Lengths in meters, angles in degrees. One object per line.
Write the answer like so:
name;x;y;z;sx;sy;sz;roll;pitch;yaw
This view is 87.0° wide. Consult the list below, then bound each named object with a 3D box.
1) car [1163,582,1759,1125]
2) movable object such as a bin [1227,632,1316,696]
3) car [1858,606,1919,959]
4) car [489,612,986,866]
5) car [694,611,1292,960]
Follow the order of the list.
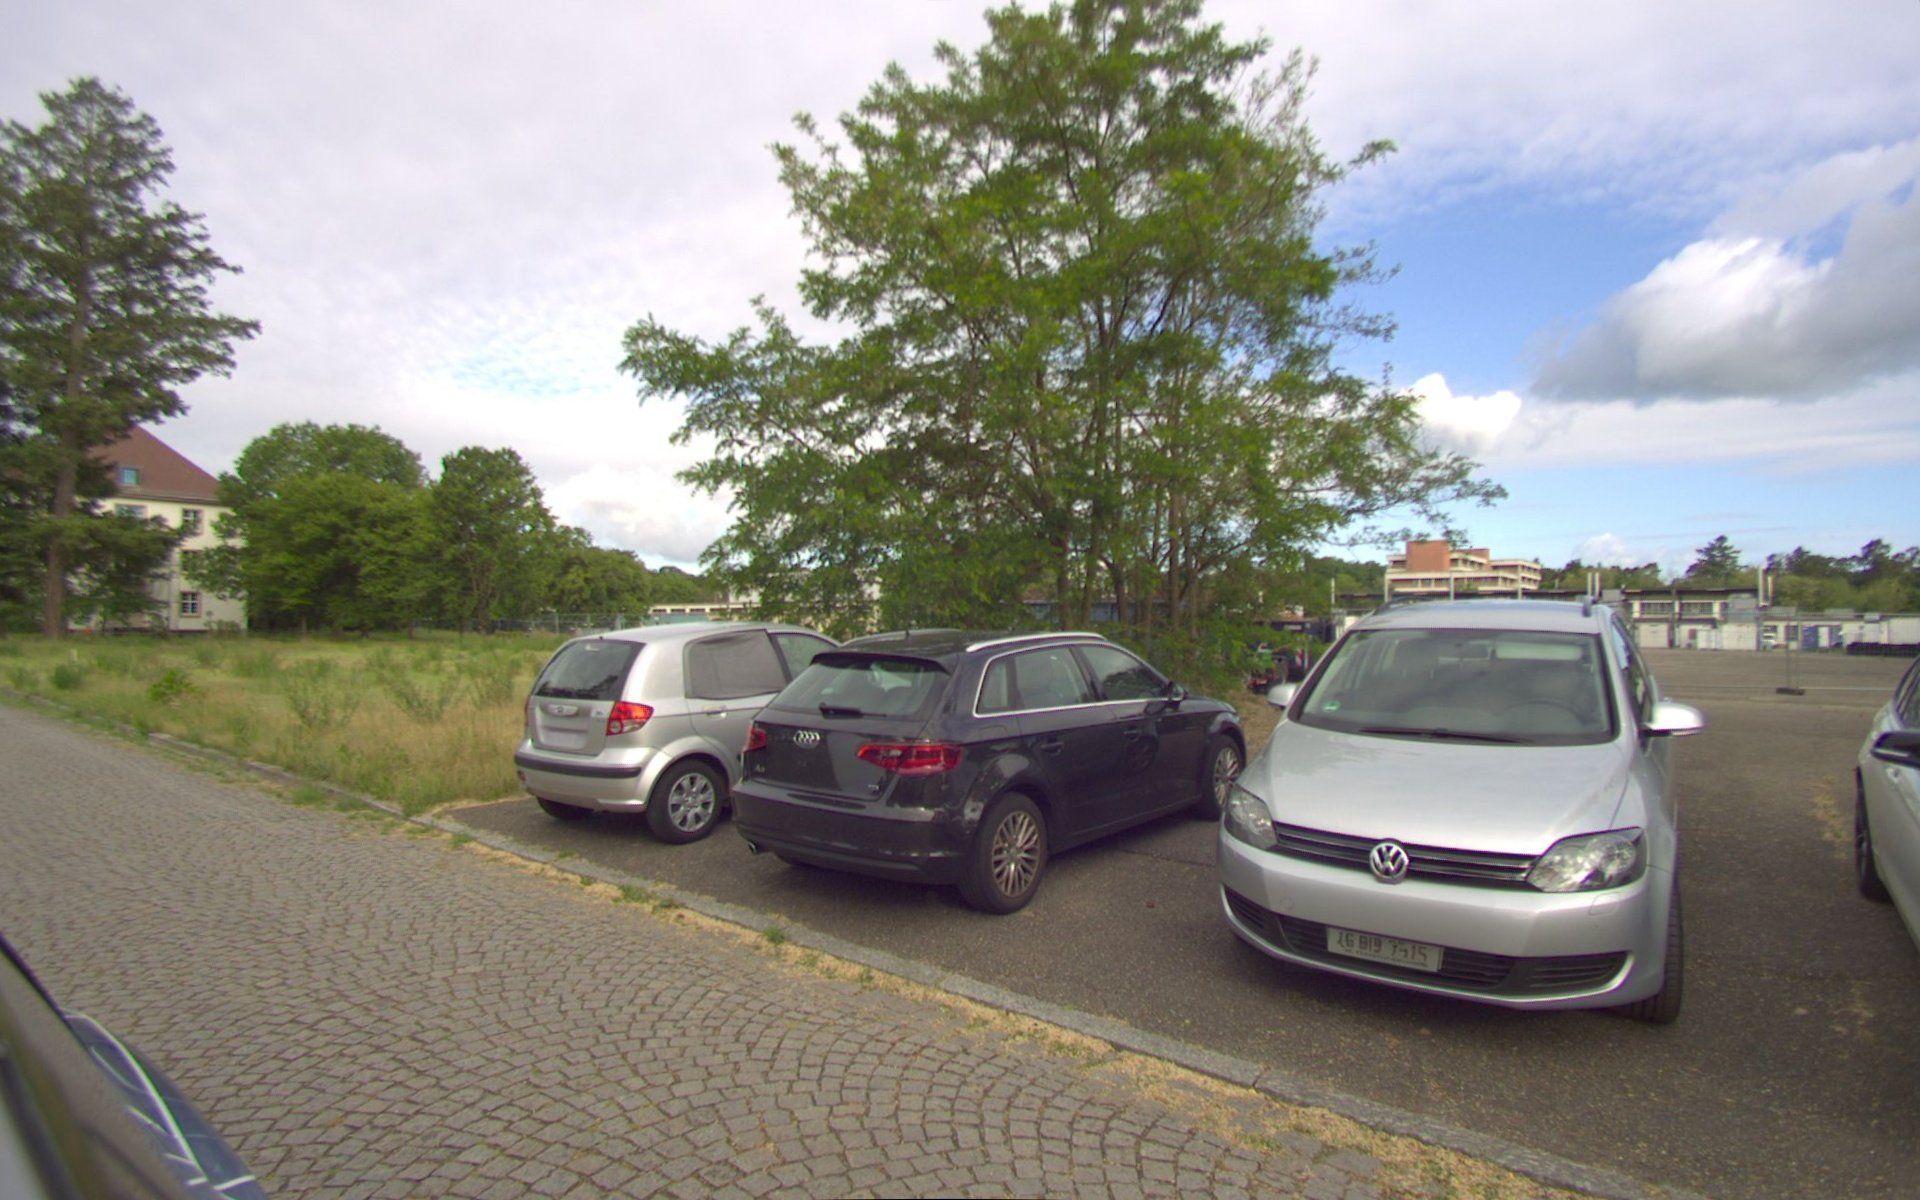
car;2.813;0.760;5.334;1.868;1.610;4.326;-1;0;34
movable object such as a bin;5.922;1.195;19.145;0.857;1.134;2.239;-1;-3;39
car;4.786;0.773;3.717;1.864;1.499;4.694;-2;-1;38
car;-1.577;0.897;8.365;1.582;1.481;3.913;-1;0;37
car;0.570;0.856;6.765;1.720;1.435;4.392;-1;0;38
